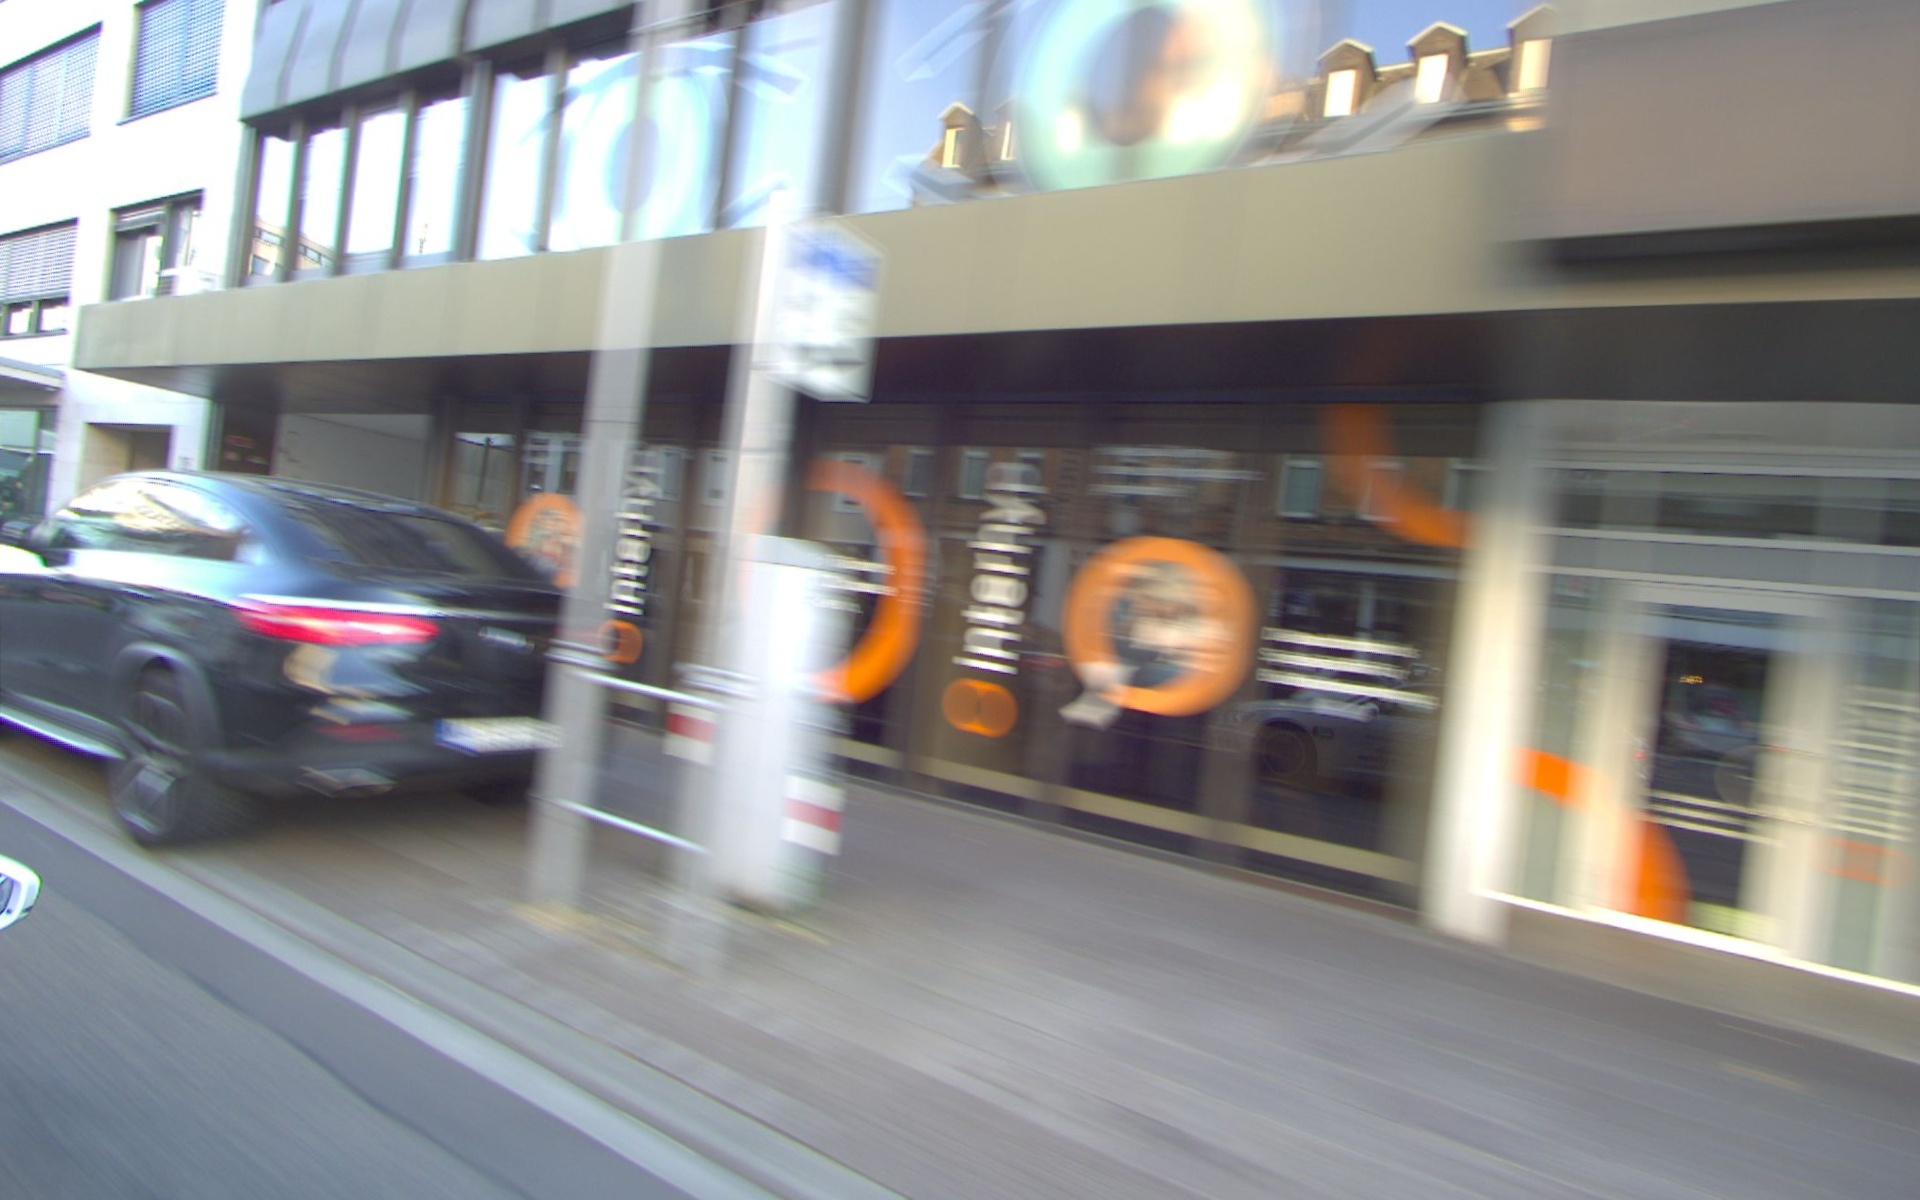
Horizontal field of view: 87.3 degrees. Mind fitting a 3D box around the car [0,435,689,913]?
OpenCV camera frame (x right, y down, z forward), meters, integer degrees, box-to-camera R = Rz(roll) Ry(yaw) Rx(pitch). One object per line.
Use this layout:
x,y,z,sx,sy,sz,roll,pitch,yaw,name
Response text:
-3.995,0.117,5.827,4.593,1.757,1.985,7,2,32,car
